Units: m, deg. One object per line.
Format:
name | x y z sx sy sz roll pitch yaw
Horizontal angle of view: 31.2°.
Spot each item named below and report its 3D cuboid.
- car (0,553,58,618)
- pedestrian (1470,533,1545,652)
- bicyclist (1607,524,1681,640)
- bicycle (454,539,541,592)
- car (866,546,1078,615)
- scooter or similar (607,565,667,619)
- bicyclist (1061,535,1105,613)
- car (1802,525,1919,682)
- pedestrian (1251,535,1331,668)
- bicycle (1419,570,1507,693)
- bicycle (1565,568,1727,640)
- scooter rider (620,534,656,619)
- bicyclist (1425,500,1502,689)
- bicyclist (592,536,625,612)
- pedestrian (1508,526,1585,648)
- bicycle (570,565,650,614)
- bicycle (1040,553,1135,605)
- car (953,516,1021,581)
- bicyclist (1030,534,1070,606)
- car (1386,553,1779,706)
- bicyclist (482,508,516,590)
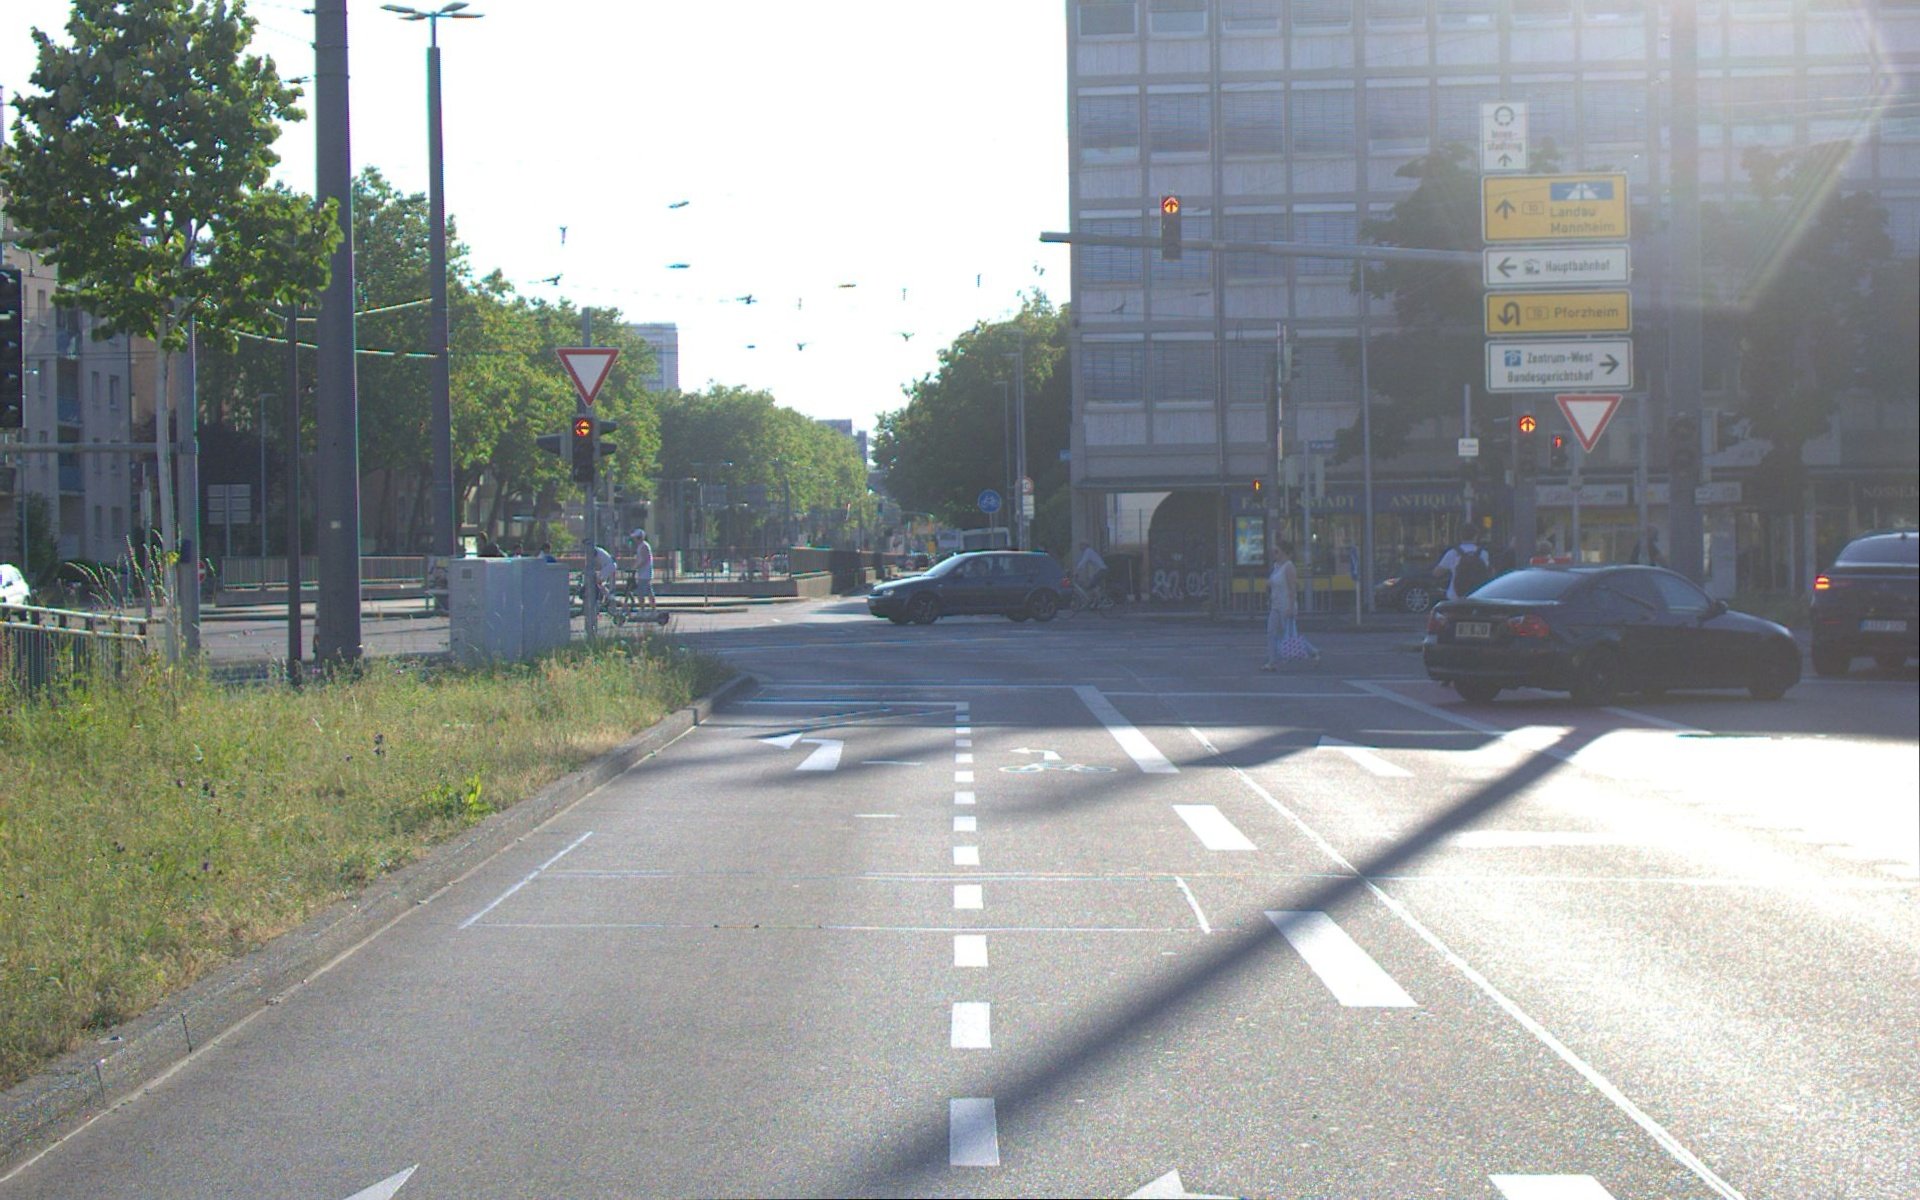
car | -28.026 -0.425 100.660 1.993 1.853 4.000 -1 1 2
pedestrian | 7.447 -0.109 46.791 0.878 1.592 0.655 -1 1 -2
bicyclist | 9.929 -0.265 49.951 0.959 1.656 0.691 0 1 3
bicycle | -9.739 -0.733 72.354 1.775 1.068 0.535 -1 1 -10
car | 0.222 -0.410 69.299 3.986 1.284 1.848 -1 1 -10
scooter or similar | -6.604 -0.159 70.266 1.171 1.068 0.530 -1 1 -9
bicyclist | 2.814 -0.594 78.646 0.898 1.747 0.655 -1 1 -4
car | 11.296 0.003 40.355 1.996 1.687 3.995 1 2 25
pedestrian | 4.035 0.009 41.931 0.878 1.592 0.655 -1 1 0
bicycle | 5.451 0.325 37.338 0.644 1.219 2.048 1 3 1
bicycle | 9.965 0.050 49.958 2.226 1.023 0.682 0 1 3
scooter rider | -6.589 -0.482 70.263 0.663 1.706 0.527 -1 1 -10
bicyclist | 5.477 -0.076 37.461 0.643 2.006 1.067 1 2 1
bicyclist | -7.934 -0.583 77.638 0.663 1.706 0.538 -1 1 -10
pedestrian | 7.851 -0.178 46.040 0.878 1.592 0.655 -1 1 -2
bicycle | -7.910 -0.246 77.644 1.731 1.056 0.539 -1 1 -10
bicycle | 2.914 -0.485 78.656 2.093 1.133 0.658 -1 1 -4
car | 1.034 -2.004 135.484 2.486 2.384 5.935 -2 1 -1
bicyclist | 2.234 -0.750 85.210 0.898 1.747 0.650 -1 1 -4
car | 6.297 0.255 34.598 3.988 1.421 1.749 -1 1 -40
bicyclist | -9.707 -1.064 72.361 0.663 1.706 0.538 -1 1 -10
